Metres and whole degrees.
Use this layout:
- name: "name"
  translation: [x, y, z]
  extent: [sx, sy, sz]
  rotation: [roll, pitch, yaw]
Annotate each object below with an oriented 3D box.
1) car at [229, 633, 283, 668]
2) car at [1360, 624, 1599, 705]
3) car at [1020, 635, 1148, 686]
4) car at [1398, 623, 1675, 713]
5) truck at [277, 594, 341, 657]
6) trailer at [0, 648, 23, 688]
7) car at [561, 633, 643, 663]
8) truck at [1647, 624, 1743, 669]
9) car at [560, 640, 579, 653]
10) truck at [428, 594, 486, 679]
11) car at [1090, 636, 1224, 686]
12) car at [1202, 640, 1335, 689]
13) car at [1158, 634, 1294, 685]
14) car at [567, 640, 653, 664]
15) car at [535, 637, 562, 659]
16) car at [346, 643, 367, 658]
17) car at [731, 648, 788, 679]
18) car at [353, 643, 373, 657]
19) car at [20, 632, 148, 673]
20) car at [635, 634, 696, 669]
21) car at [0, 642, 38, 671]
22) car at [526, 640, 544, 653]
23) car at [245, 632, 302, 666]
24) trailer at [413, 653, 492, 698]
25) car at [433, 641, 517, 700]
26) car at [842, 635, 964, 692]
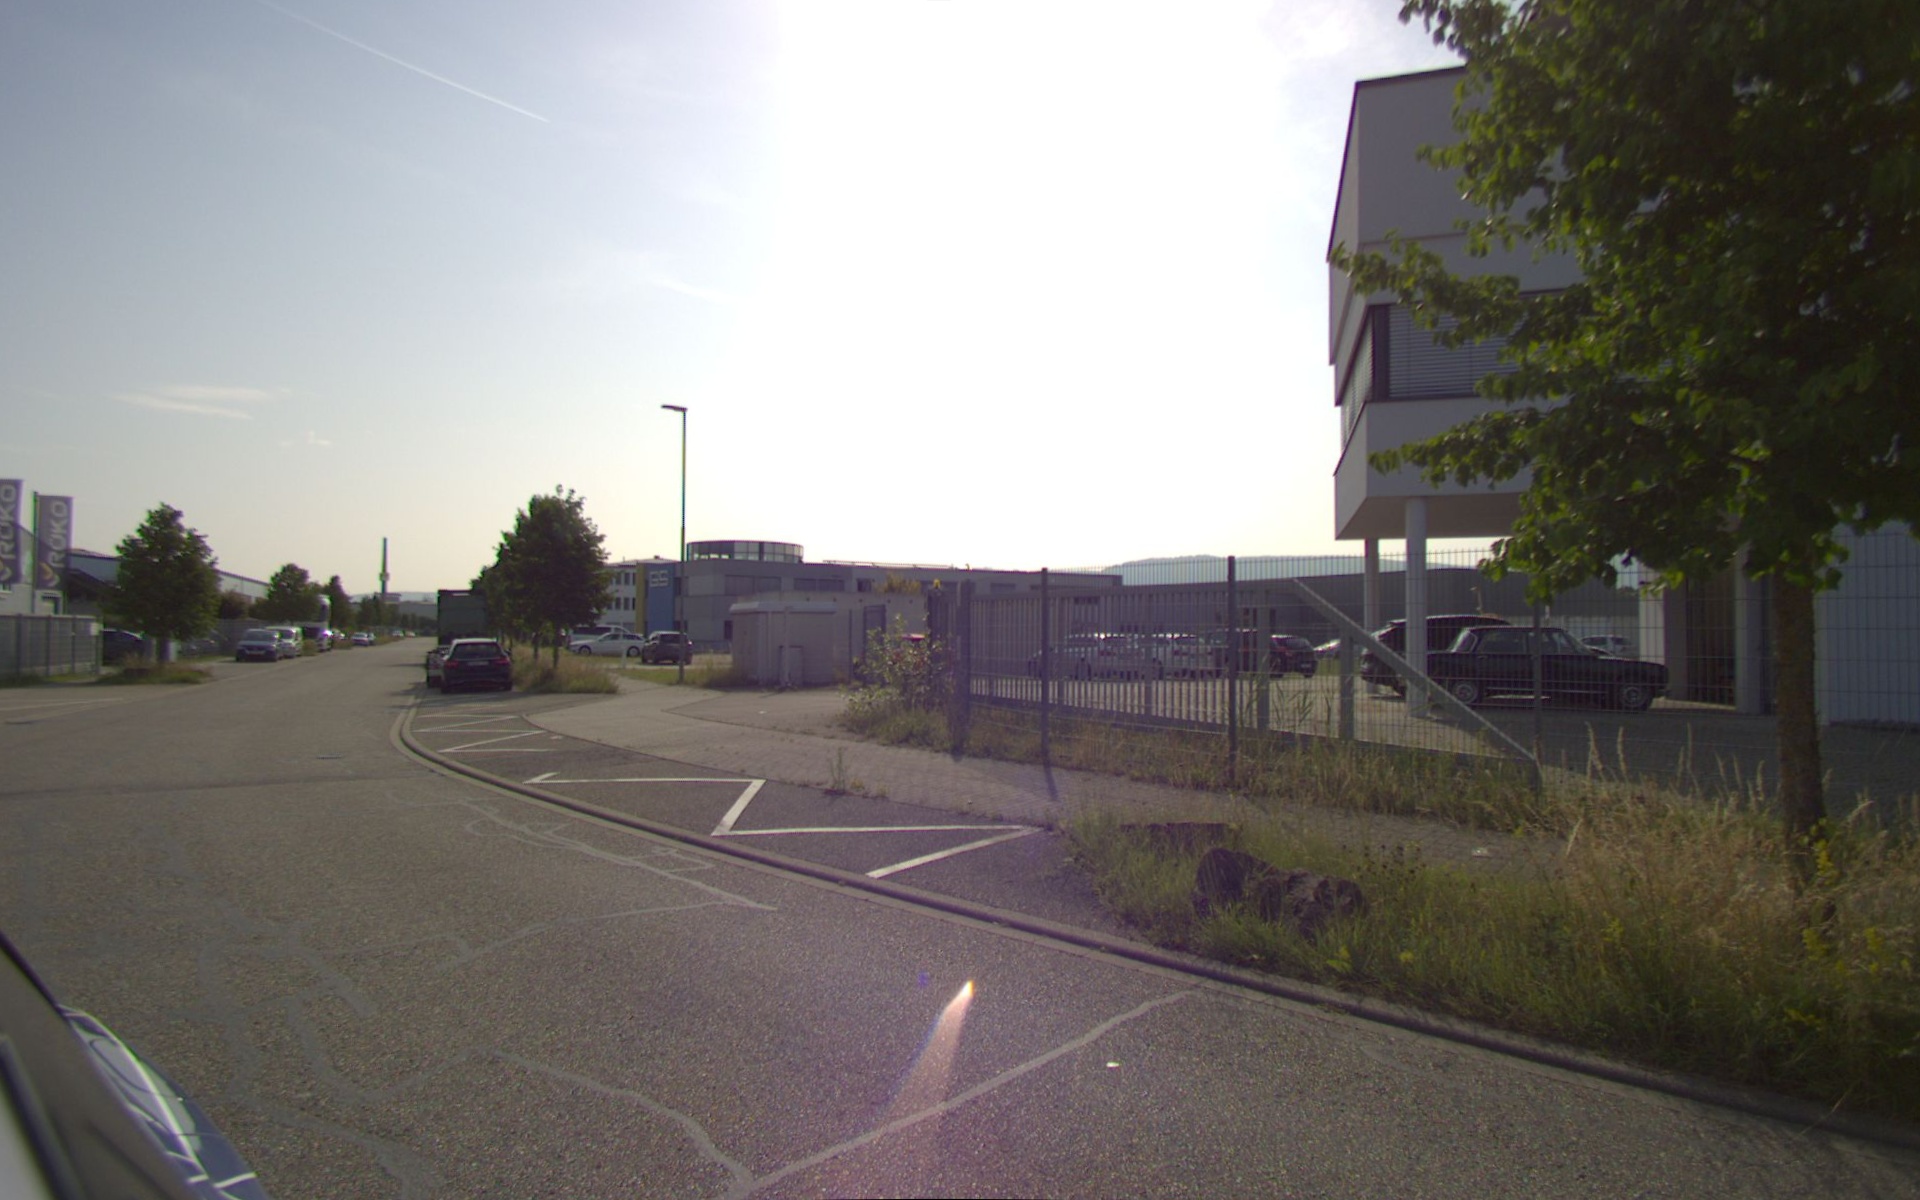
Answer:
- name: "car"
  translation: [-36.661, 2.601, 52.789]
  extent: [1.800, 1.733, 4.262]
  rotation: [1, -2, -28]
- name: "car"
  translation: [10.203, 1.248, 20.236]
  extent: [3.967, 1.499, 1.858]
  rotation: [-1, -2, 19]
- name: "car"
  translation: [3.856, 1.928, 32.366]
  extent: [1.807, 1.506, 4.491]
  rotation: [1, -4, -28]
- name: "car"
  translation: [9.778, 1.138, 17.500]
  extent: [3.889, 1.426, 1.553]
  rotation: [-1, -2, 19]
- name: "truck"
  translation: [-46.157, 1.927, 71.974]
  extent: [2.707, 4.046, 9.716]
  rotation: [4, -4, -27]
- name: "trailer"
  translation: [-33.509, 2.312, 33.791]
  extent: [1.965, 1.320, 4.578]
  rotation: [1, -2, -26]
- name: "car"
  translation: [-22.489, 2.999, 63.625]
  extent: [4.638, 1.850, 2.109]
  rotation: [1, -2, -27]
- name: "truck"
  translation: [42.484, 2.695, 58.576]
  extent: [1.965, 2.533, 4.013]
  rotation: [1, -3, -22]
- name: "car"
  translation: [-44.827, 5.316, 116.156]
  extent: [1.729, 1.479, 3.930]
  rotation: [1, -3, -26]
- name: "truck"
  translation: [-25.578, 1.781, 51.606]
  extent: [2.421, 3.911, 9.834]
  rotation: [0, -1, -26]
- name: "car"
  translation: [6.397, 1.999, 33.334]
  extent: [1.908, 1.506, 4.491]
  rotation: [1, -4, -28]
- name: "car"
  translation: [10.988, 2.307, 36.381]
  extent: [1.908, 1.616, 4.491]
  rotation: [1, -4, -28]
- name: "car"
  translation: [8.956, 2.034, 34.452]
  extent: [1.908, 1.616, 4.491]
  rotation: [1, -4, -28]
- name: "car"
  translation: [-21.139, 3.114, 61.162]
  extent: [4.660, 1.442, 2.006]
  rotation: [1, -3, -29]
- name: "car"
  translation: [-38.228, 4.468, 93.982]
  extent: [1.855, 2.029, 5.006]
  rotation: [2, -4, -27]
- name: "car"
  translation: [-65.392, 5.489, 109.634]
  extent: [1.641, 1.515, 3.552]
  rotation: [4, -4, -27]
- name: "car"
  translation: [-10.564, 3.287, 53.123]
  extent: [1.681, 1.527, 4.226]
  rotation: [2, -3, -28]
- name: "car"
  translation: [-68.918, 5.781, 116.859]
  extent: [1.666, 1.515, 3.552]
  rotation: [4, -4, -27]
- name: "car"
  translation: [-39.850, 2.368, 46.163]
  extent: [4.167, 1.751, 1.904]
  rotation: [2, -3, -34]
- name: "car"
  translation: [-14.992, 2.618, 51.327]
  extent: [1.965, 1.699, 4.713]
  rotation: [2, -3, -28]
- name: "car"
  translation: [-54.663, 3.217, 57.991]
  extent: [1.863, 1.568, 4.383]
  rotation: [1, -3, -32]
- name: "car"
  translation: [-48.034, 5.241, 114.350]
  extent: [1.729, 1.420, 3.930]
  rotation: [1, -3, -26]
- name: "car"
  translation: [-38.771, 2.752, 57.256]
  extent: [1.965, 1.803, 4.614]
  rotation: [1, -2, -26]
- name: "trailer"
  translation: [-16.710, 2.428, 33.623]
  extent: [2.100, 1.242, 7.180]
  rotation: [-1, -2, -25]
- name: "car"
  translation: [-13.656, 1.909, 28.467]
  extent: [1.965, 1.478, 4.446]
  rotation: [0, -2, -27]
- name: "car"
  translation: [-1.771, 1.872, 29.964]
  extent: [1.746, 1.537, 4.316]
  rotation: [2, -4, -32]
